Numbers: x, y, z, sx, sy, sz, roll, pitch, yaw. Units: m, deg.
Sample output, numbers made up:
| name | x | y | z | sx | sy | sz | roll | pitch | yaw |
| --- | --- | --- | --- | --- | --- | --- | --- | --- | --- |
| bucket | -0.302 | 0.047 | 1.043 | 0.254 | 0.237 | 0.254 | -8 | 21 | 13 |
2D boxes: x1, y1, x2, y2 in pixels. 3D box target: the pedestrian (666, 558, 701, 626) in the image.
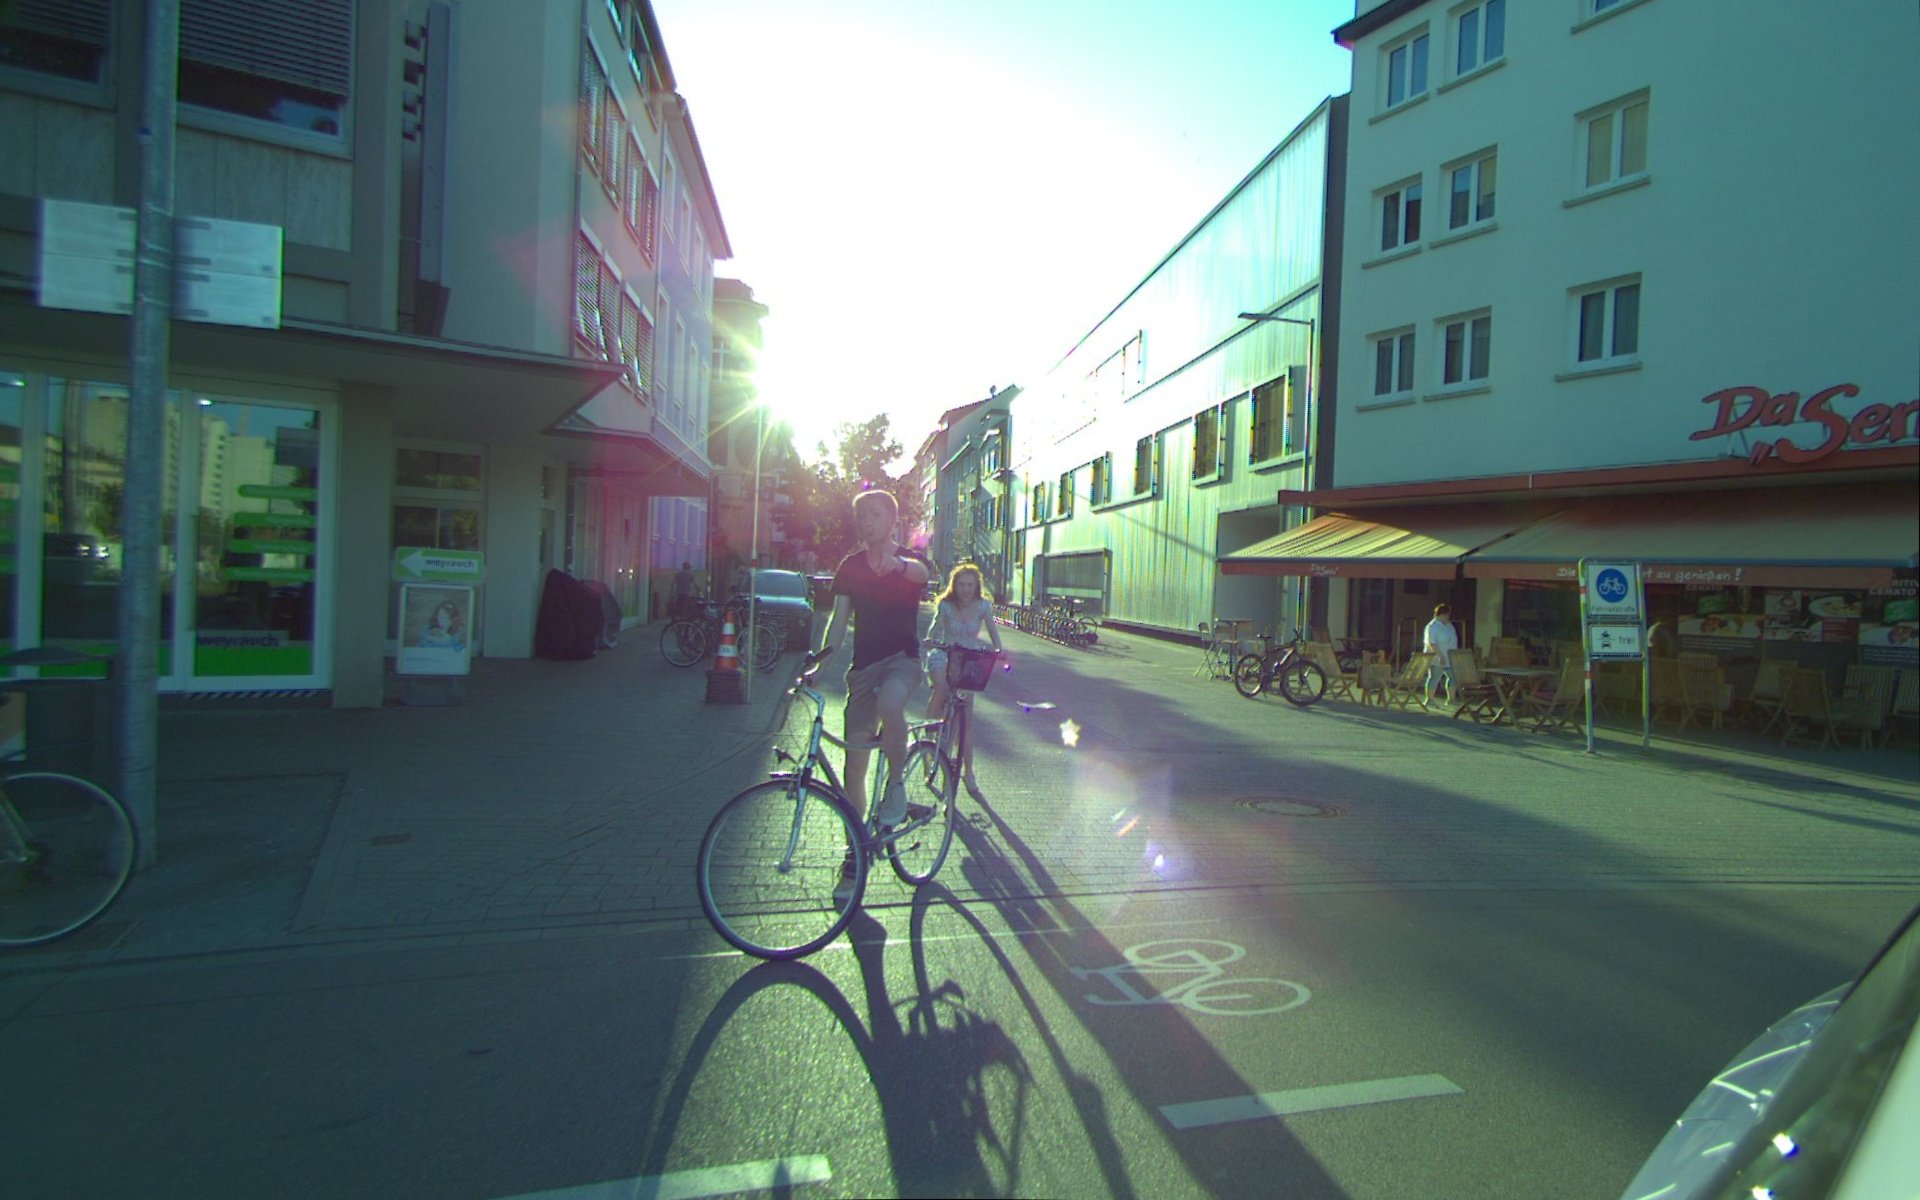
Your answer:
| name | x | y | z | sx | sy | sz | roll | pitch | yaw |
| --- | --- | --- | --- | --- | --- | --- | --- | --- | --- |
| pedestrian | -6.604 | -0.194 | 24.184 | 0.663 | 1.545 | 0.600 | 4 | 0 | -9 |

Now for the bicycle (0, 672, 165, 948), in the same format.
| name | x | y | z | sx | sy | sz | roll | pitch | yaw |
| --- | --- | --- | --- | --- | --- | --- | --- | --- | --- |
| bicycle | -4.054 | 0.793 | 3.705 | 1.767 | 0.982 | 0.465 | 2 | 1 | -39 |

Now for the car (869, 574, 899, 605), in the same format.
| name | x | y | z | sx | sy | sz | roll | pitch | yaw |
| --- | --- | --- | --- | --- | --- | --- | --- | --- | --- |
| car | -5.241 | -0.713 | 70.338 | 1.961 | 2.039 | 4.002 | 1 | 0 | -3 |

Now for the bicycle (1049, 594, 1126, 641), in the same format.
| name | x | y | z | sx | sy | sz | roll | pitch | yaw |
| --- | --- | --- | --- | --- | --- | --- | --- | --- | --- |
| bicycle | 3.734 | 0.504 | 29.734 | 2.070 | 1.235 | 0.705 | 4 | 0 | -7 |

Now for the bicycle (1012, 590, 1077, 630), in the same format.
| name | x | y | z | sx | sy | sz | roll | pitch | yaw |
| --- | --- | --- | --- | --- | --- | --- | --- | --- | --- |
| bicycle | 2.914 | 0.342 | 35.172 | 2.070 | 1.235 | 0.705 | 4 | 0 | -7 |

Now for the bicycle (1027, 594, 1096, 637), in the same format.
| name | x | y | z | sx | sy | sz | roll | pitch | yaw |
| --- | --- | --- | --- | --- | --- | --- | --- | --- | --- |
| bicycle | 3.293 | 0.488 | 32.879 | 2.070 | 1.235 | 0.705 | 4 | 0 | -7 |

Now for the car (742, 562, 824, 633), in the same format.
| name | x | y | z | sx | sy | sz | roll | pitch | yaw |
| --- | --- | --- | --- | --- | --- | --- | --- | --- | --- |
| car | -5.012 | -0.109 | 29.169 | 1.856 | 1.771 | 4.438 | 4 | 1 | -5 |

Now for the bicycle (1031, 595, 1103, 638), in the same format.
| name | x | y | z | sx | sy | sz | roll | pitch | yaw |
| --- | --- | --- | --- | --- | --- | --- | --- | --- | --- |
| bicycle | 3.386 | 0.518 | 32.052 | 2.070 | 1.235 | 0.705 | 4 | 0 | -7 |

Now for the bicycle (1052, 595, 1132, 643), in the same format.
| name | x | y | z | sx | sy | sz | roll | pitch | yaw |
| --- | --- | --- | --- | --- | --- | --- | --- | --- | --- |
| bicycle | 3.760 | 0.538 | 28.910 | 2.070 | 1.235 | 0.705 | 4 | 0 | -7 |

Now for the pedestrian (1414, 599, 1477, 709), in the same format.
| name | x | y | z | sx | sy | sz | roll | pitch | yaw |
| --- | --- | --- | --- | --- | --- | --- | --- | --- | --- |
| pedestrian | 7.162 | 0.787 | 14.937 | 0.563 | 1.561 | 0.573 | 2 | 0 | -32 |

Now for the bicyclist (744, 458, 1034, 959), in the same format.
| name | x | y | z | sx | sy | sz | roll | pitch | yaw |
| --- | --- | --- | --- | --- | --- | --- | --- | --- | --- |
| bicyclist | -0.273 | 0.402 | 4.588 | 0.831 | 1.941 | 1.106 | 3 | 0 | 23 |

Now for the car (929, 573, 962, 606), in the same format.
| name | x | y | z | sx | sy | sz | roll | pitch | yaw |
| --- | --- | --- | --- | --- | --- | --- | --- | --- | --- |
| car | -0.992 | -0.686 | 66.268 | 1.961 | 2.039 | 4.260 | 1 | 0 | -3 |

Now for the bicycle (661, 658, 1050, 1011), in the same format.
| name | x | y | z | sx | sy | sz | roll | pitch | yaw |
| --- | --- | --- | --- | --- | --- | --- | --- | --- | --- |
| bicycle | -0.319 | 0.858 | 4.542 | 0.831 | 1.033 | 2.062 | 3 | 1 | 22 |

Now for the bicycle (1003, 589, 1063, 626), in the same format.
| name | x | y | z | sx | sy | sz | roll | pitch | yaw |
| --- | --- | --- | --- | --- | --- | --- | --- | --- | --- |
| bicycle | 2.748 | 0.281 | 38.097 | 2.068 | 1.235 | 0.706 | 4 | 0 | -15 |

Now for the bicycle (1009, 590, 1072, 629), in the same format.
| name | x | y | z | sx | sy | sz | roll | pitch | yaw |
| --- | --- | --- | --- | --- | --- | --- | --- | --- | --- |
| bicycle | 2.849 | 0.340 | 35.913 | 2.070 | 1.235 | 0.705 | 4 | 0 | -7 |

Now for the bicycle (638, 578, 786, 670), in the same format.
| name | x | y | z | sx | sy | sz | roll | pitch | yaw |
| --- | --- | --- | --- | --- | --- | --- | --- | --- | --- |
| bicycle | -3.743 | 0.358 | 15.418 | 2.070 | 1.235 | 0.705 | 4 | 0 | -7 |

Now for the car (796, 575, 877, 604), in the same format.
| name | x | y | z | sx | sy | sz | roll | pitch | yaw |
| --- | --- | --- | --- | --- | --- | --- | --- | --- | --- |
| car | -6.783 | -0.560 | 55.720 | 3.919 | 1.404 | 2.003 | 2 | 1 | -30 |

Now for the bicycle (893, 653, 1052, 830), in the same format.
| name | x | y | z | sx | sy | sz | roll | pitch | yaw |
| --- | --- | --- | --- | --- | --- | --- | --- | --- | --- |
| bicycle | 0.012 | 0.900 | 7.027 | 0.823 | 0.892 | 2.015 | 2 | 1 | -7 |

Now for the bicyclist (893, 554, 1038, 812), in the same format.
| name | x | y | z | sx | sy | sz | roll | pitch | yaw |
| --- | --- | --- | --- | --- | --- | --- | --- | --- | --- |
| bicyclist | 0.003 | 0.533 | 7.126 | 0.823 | 1.643 | 1.116 | 2 | 0 | -6 |

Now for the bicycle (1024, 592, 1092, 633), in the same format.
| name | x | y | z | sx | sy | sz | roll | pitch | yaw |
| --- | --- | --- | --- | --- | --- | --- | --- | --- | --- |
| bicycle | 3.271 | 0.410 | 33.810 | 2.070 | 1.235 | 0.705 | 4 | 0 | -7 |

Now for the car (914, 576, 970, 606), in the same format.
| name | x | y | z | sx | sy | sz | roll | pitch | yaw |
| --- | --- | --- | --- | --- | --- | --- | --- | --- | --- |
| car | -1.349 | -0.653 | 73.597 | 3.920 | 2.039 | 2.001 | 1 | -1 | -4 |

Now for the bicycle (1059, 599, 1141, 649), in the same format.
| name | x | y | z | sx | sy | sz | roll | pitch | yaw |
| --- | --- | --- | --- | --- | --- | --- | --- | --- | --- |
| bicycle | 3.876 | 0.650 | 28.033 | 2.070 | 1.235 | 0.705 | 4 | 0 | -7 |

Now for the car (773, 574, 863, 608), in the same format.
| name | x | y | z | sx | sy | sz | roll | pitch | yaw |
| --- | --- | --- | --- | --- | --- | --- | --- | --- | --- |
| car | -6.964 | -0.429 | 49.676 | 3.933 | 1.449 | 1.996 | 2 | 1 | -44 |

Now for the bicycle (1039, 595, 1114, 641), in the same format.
| name | x | y | z | sx | sy | sz | roll | pitch | yaw |
| --- | --- | --- | --- | --- | --- | --- | --- | --- | --- |
| bicycle | 3.548 | 0.541 | 30.904 | 2.070 | 1.235 | 0.705 | 4 | 0 | -7 |

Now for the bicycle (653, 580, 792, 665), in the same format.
| name | x | y | z | sx | sy | sz | roll | pitch | yaw |
| --- | --- | --- | --- | --- | --- | --- | --- | --- | --- |
| bicycle | -3.846 | 0.361 | 16.532 | 2.070 | 1.235 | 0.705 | 4 | 0 | -7 |

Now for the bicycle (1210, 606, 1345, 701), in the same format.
| name | x | y | z | sx | sy | sz | roll | pitch | yaw |
| --- | --- | --- | --- | --- | --- | --- | --- | --- | --- |
| bicycle | 4.914 | 0.799 | 15.848 | 0.690 | 1.303 | 2.117 | 2 | 1 | -27 |

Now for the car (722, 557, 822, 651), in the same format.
| name | x | y | z | sx | sy | sz | roll | pitch | yaw |
| --- | --- | --- | --- | --- | --- | --- | --- | --- | --- |
| car | -4.190 | 0.041 | 22.214 | 1.854 | 1.771 | 4.009 | 4 | 1 | -13 |

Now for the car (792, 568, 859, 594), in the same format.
| name | x | y | z | sx | sy | sz | roll | pitch | yaw |
| --- | --- | --- | --- | --- | --- | --- | --- | --- | --- |
| car | -9.090 | -1.283 | 68.452 | 3.922 | 1.627 | 2.001 | 2 | 1 | -34 |

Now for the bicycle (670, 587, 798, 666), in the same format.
| name | x | y | z | sx | sy | sz | roll | pitch | yaw |
| --- | --- | --- | --- | --- | --- | --- | --- | --- | --- |
| bicycle | -3.939 | 0.457 | 17.778 | 2.070 | 1.235 | 0.705 | 4 | 0 | -7 |

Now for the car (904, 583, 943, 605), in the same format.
| name | x | y | z | sx | sy | sz | roll | pitch | yaw |
| --- | --- | --- | --- | --- | --- | --- | --- | --- | --- |
| car | -3.346 | -0.550 | 92.522 | 3.393 | 1.867 | 1.610 | 2 | -1 | -8 |
